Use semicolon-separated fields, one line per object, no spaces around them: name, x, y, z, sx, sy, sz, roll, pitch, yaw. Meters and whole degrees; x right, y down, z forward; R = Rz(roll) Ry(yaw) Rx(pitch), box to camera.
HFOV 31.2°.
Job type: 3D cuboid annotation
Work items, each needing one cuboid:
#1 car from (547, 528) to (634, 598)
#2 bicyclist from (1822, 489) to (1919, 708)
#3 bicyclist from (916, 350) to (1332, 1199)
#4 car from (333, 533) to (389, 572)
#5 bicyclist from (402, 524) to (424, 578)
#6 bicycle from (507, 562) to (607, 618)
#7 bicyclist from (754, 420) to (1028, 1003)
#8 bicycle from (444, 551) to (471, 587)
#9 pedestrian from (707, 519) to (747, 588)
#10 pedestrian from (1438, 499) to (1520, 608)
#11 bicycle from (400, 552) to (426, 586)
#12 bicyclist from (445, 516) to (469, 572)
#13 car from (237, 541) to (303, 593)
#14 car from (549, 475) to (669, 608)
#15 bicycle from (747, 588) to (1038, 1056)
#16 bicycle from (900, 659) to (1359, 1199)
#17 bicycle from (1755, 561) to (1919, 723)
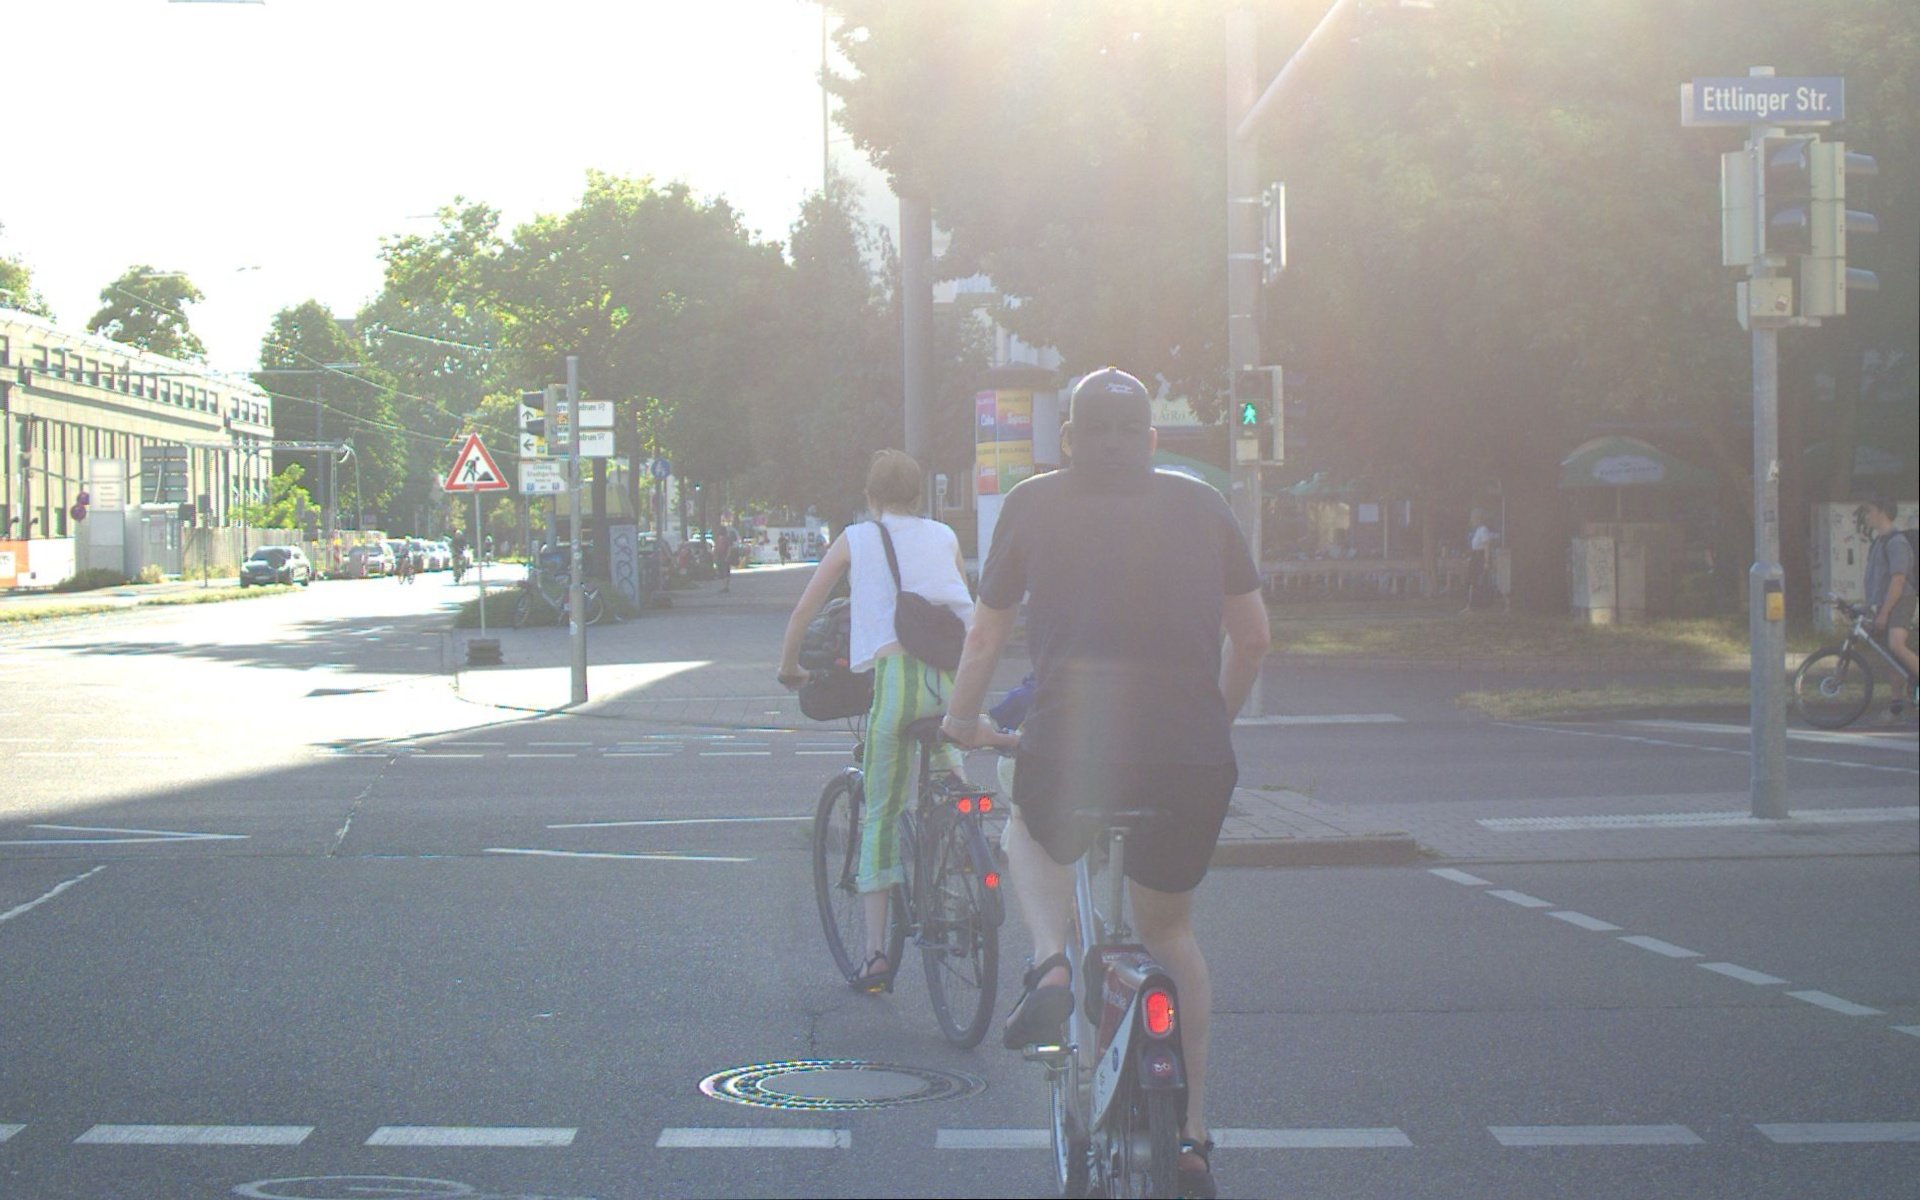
car;-7.828;-0.803;73.163;1.697;1.423;4.001;-1;1;-4
bicyclist;7.163;-0.013;26.764;0.836;1.673;0.783;-1;0;13
bicyclist;0.308;0.394;6.973;0.752;1.737;0.839;1;0;-2
car;-26.020;-2.062;149.332;1.993;1.634;4.001;-1;1;-4
bicyclist;-18.937;-1.697;119.009;0.635;1.846;0.783;-1;1;-2
bicycle;-6.716;-0.171;57.322;1.600;0.886;0.770;-1;1;-10
bicyclist;-0.215;0.323;10.449;0.773;1.685;0.925;1;0;-2
bicycle;-16.611;-1.035;113.582;0.661;1.152;1.809;-1;1;-2
pedestrian;-5.949;-1.191;87.783;0.781;1.734;0.895;-1;1;-21
pedestrian;8.357;-0.751;55.332;1.212;1.734;0.894;-1;1;14
bicycle;-18.921;-1.063;118.915;0.661;1.152;1.809;-1;1;-2
bicyclist;-16.599;-1.853;113.462;0.664;1.846;0.783;-1;1;-2
car;-26.844;-1.306;133.835;1.993;1.963;4.001;-1;1;-4
car;-8.064;-1.344;79.490;2.591;2.942;5.090;-1;1;-4
bicycle;-0.222;0.601;10.511;0.775;1.235;2.312;1;1;-2
bicycle;0.287;0.779;7.182;0.775;1.235;2.021;1;1;-2
bicycle;7.343;0.315;26.726;2.243;1.235;0.778;-1;0;13
